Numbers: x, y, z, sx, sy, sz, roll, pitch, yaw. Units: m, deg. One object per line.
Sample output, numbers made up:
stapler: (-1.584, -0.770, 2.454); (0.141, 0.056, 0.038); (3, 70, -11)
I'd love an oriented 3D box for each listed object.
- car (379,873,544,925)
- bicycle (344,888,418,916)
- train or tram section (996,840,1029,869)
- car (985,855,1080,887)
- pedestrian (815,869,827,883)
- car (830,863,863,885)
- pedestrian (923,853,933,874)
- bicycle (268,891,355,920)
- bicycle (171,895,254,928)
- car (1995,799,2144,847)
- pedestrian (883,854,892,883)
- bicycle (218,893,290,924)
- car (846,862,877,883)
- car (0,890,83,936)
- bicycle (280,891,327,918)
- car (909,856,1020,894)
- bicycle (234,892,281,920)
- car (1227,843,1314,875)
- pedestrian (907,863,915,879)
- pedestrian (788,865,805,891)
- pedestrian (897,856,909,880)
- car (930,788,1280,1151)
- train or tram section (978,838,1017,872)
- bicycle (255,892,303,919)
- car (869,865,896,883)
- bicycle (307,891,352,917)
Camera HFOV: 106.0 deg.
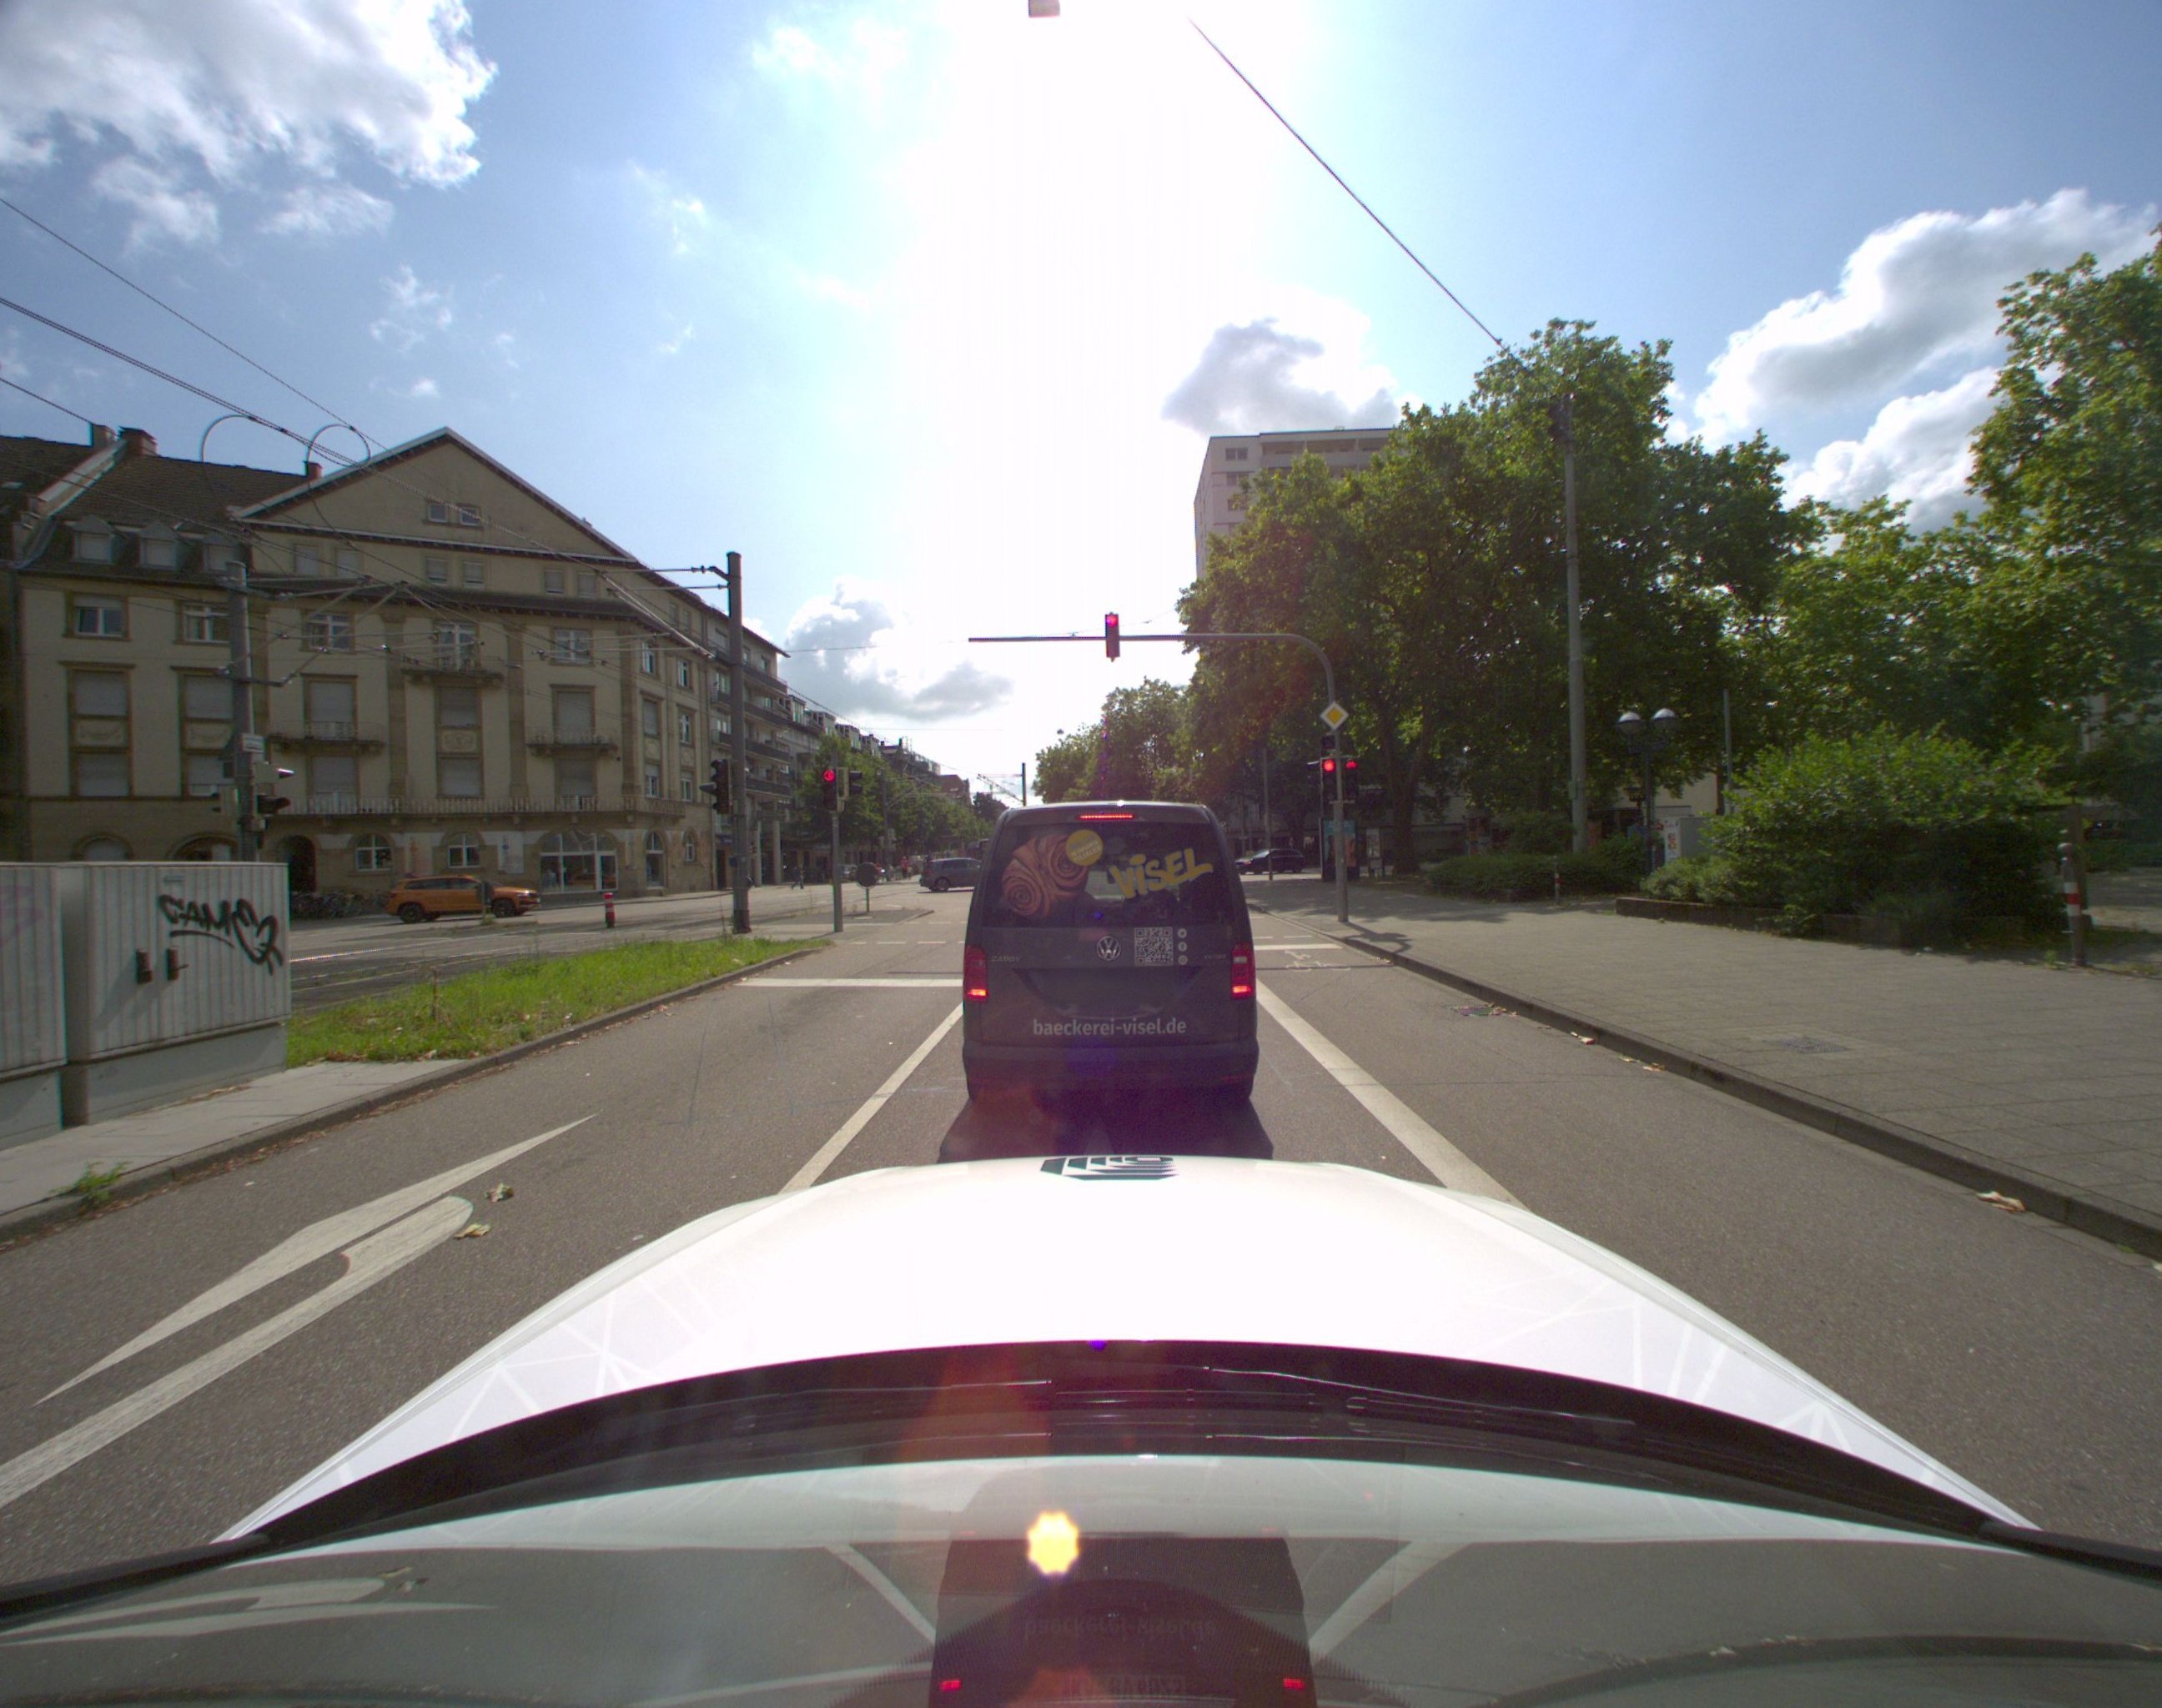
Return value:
car: (-21.851, 1.553, 28.931); (4.329, 1.546, 1.619); (-2, 0, -21)
bicycle: (-31.993, 2.179, 37.279); (0.797, 1.053, 2.576); (-2, 0, 14)
train or tram section: (-8.448, 0.077, 102.443); (2.232, 3.331, 14.021); (-2, 0, 2)
car: (-2.445, 0.849, 41.225); (4.499, 1.390, 1.694); (-2, 0, -22)
pedestrian: (-23.203, 1.970, 72.631); (0.751, 1.211, 0.704); (-2, 0, 2)
car: (-23.659, 2.003, 82.304); (1.986, 2.013, 4.002); (-2, 0, 2)
pedestrian: (-12.668, 0.786, 67.527); (0.656, 1.685, 0.656); (-2, 0, 2)
bicycle: (-33.003, 2.203, 34.980); (2.571, 1.053, 0.676); (-2, 0, -26)
bicycle: (-36.441, 2.397, 34.168); (3.283, 1.253, 1.003); (-2, 0, 18)
car: (46.894, -1.455, 38.729); (4.396, 2.013, 2.079); (-2, 0, 3)
pedestrian: (-13.370, 1.012, 56.225); (0.476, 2.013, 0.419); (-2, 0, -4)
bicycle: (-34.063, 2.220, 33.587); (1.985, 1.114, 0.482); (-2, 0, -35)
car: (-23.422, 1.979, 87.080); (1.986, 2.013, 4.002); (-2, 0, 2)
car: (-41.521, 2.317, 32.125); (3.950, 1.639, 1.813); (-2, 0, 26)
bicycle: (-34.471, 2.233, 36.154); (0.808, 1.053, 2.543); (-2, 0, -27)
car: (-5.142, 0.908, 35.949); (4.574, 1.436, 1.694); (-2, 0, -22)
bicycle: (-36.158, 2.265, 35.802); (0.744, 1.053, 2.343); (-2, 0, -27)
car: (10.780, 0.252, 46.331); (4.497, 1.601, 1.850); (-2, 0, -22)
pedestrian: (-12.785, 1.294, 61.233); (0.462, 1.144, 0.435); (-2, 0, 2)
pedestrian: (-18.588, 1.562, 53.250); (0.865, 1.596, 0.686); (-2, 0, -33)
pedestrian: (-13.413, 1.040, 61.356); (0.656, 1.784, 0.661); (-2, 0, 2)
car: (0.184, 0.580, 5.843); (1.743, 1.808, 3.476); (-1, 0, 2)
train or tram section: (-8.957, 0.045, 88.961); (2.232, 3.331, 12.978); (-2, 0, 2)
bicycle: (-35.227, 2.247, 35.815); (0.744, 1.053, 2.543); (-2, 0, -27)
car: (-23.304, 2.320, 95.590); (1.986, 2.013, 4.002); (-2, 0, 2)
bicycle: (-33.704, 2.219, 36.549); (0.808, 1.053, 2.543); (-2, 0, -27)
